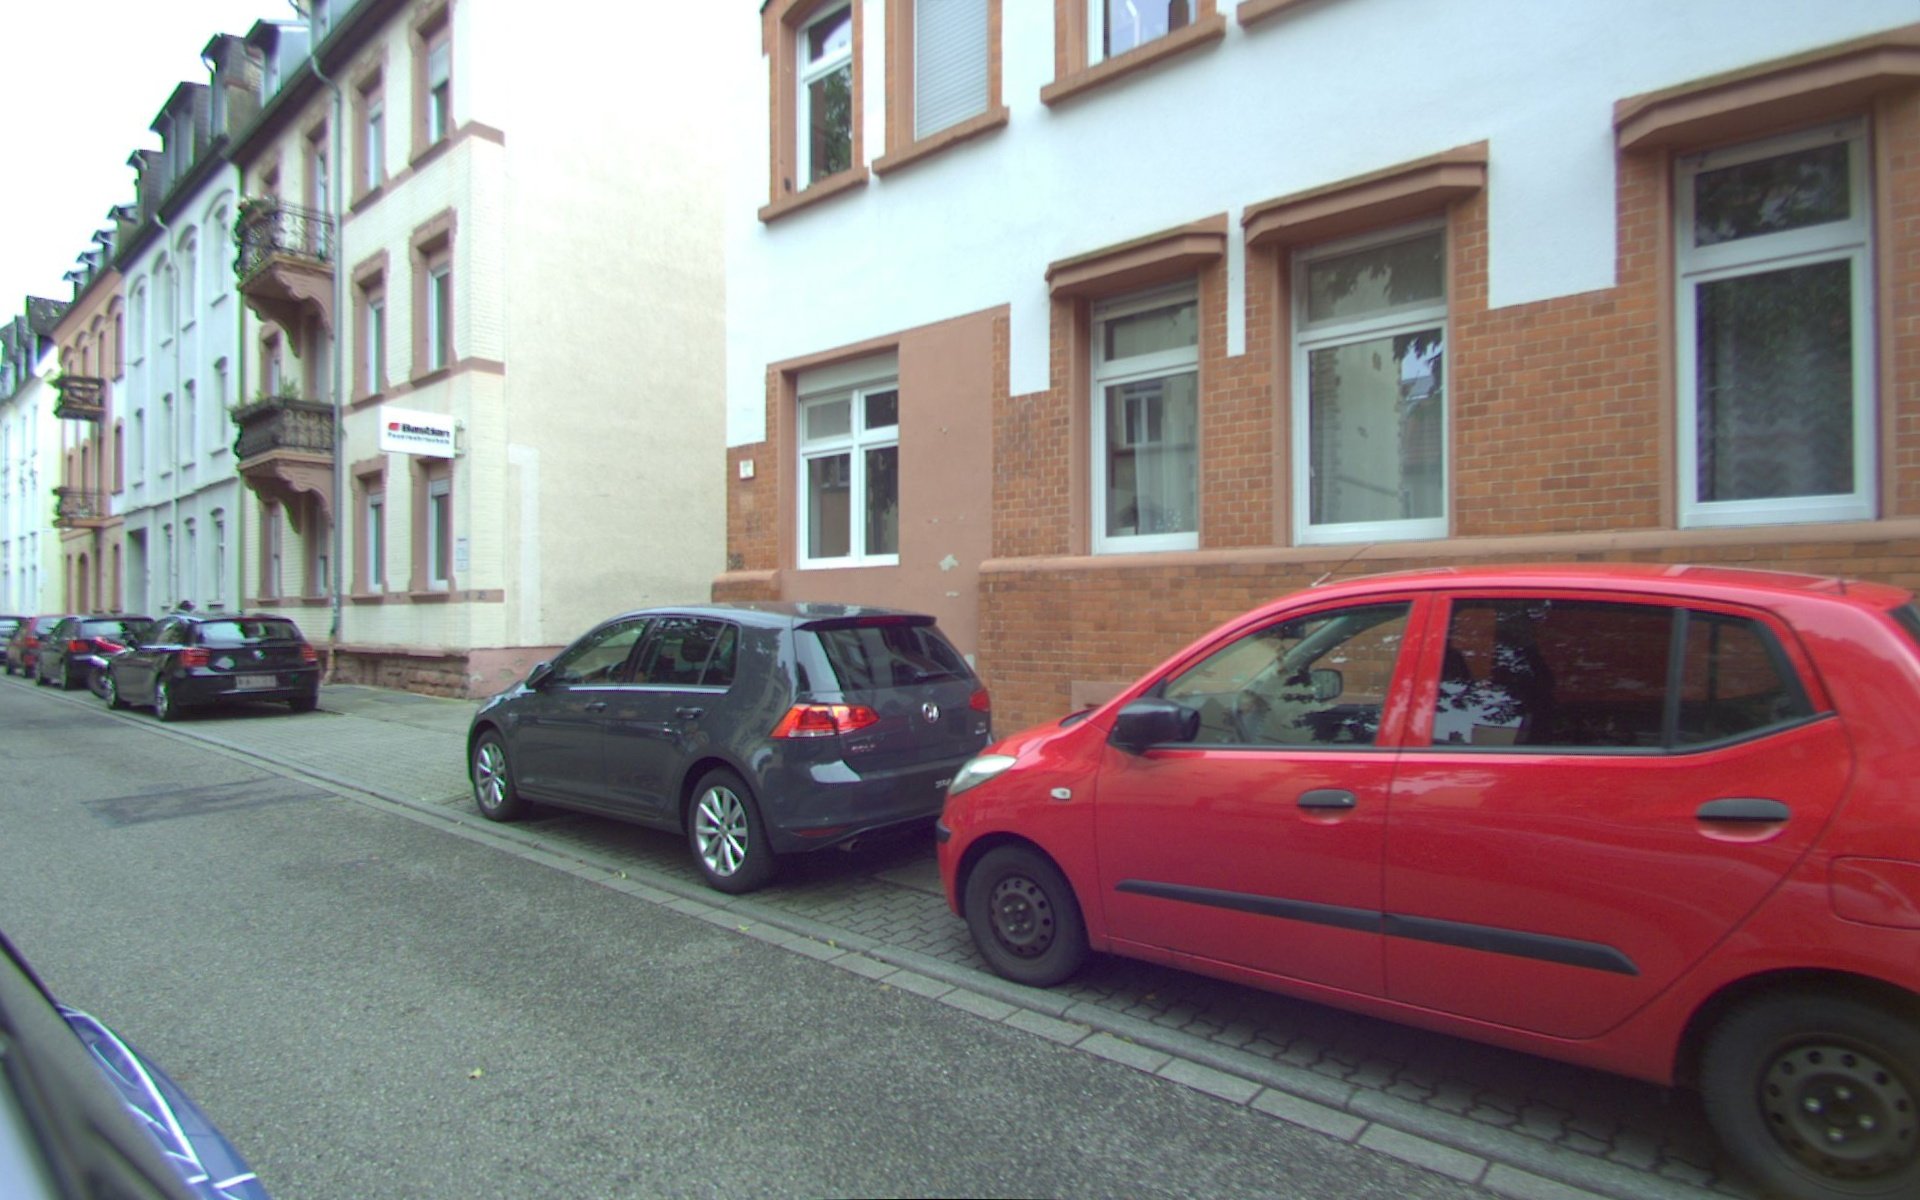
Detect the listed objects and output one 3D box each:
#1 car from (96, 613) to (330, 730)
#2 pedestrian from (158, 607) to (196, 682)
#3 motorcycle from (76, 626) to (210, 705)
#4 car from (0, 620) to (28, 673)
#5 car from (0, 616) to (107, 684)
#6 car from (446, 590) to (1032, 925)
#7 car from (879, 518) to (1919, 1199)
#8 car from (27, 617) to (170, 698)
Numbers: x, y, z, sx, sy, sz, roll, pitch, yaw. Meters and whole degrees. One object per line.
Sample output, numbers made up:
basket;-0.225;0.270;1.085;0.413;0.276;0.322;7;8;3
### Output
car;-10.702;0.917;14.404;3.998;1.401;1.880;-1;-1;41
pedestrian;-17.361;0.976;22.439;0.543;1.621;0.570;-2;-1;41
motorcycle;-13.634;1.066;16.937;1.684;1.235;0.487;-1;-1;-31
car;-28.142;1.331;29.351;3.042;1.420;1.437;0;1;44
car;-21.602;1.136;23.998;3.340;1.483;1.590;-1;-1;40
car;-1.573;0.719;6.213;3.916;1.427;1.450;-2;0;41
car;1.498;0.619;3.507;3.566;1.542;1.450;-2;0;41
car;-16.929;1.061;19.839;3.470;1.393;1.638;-1;0;41
